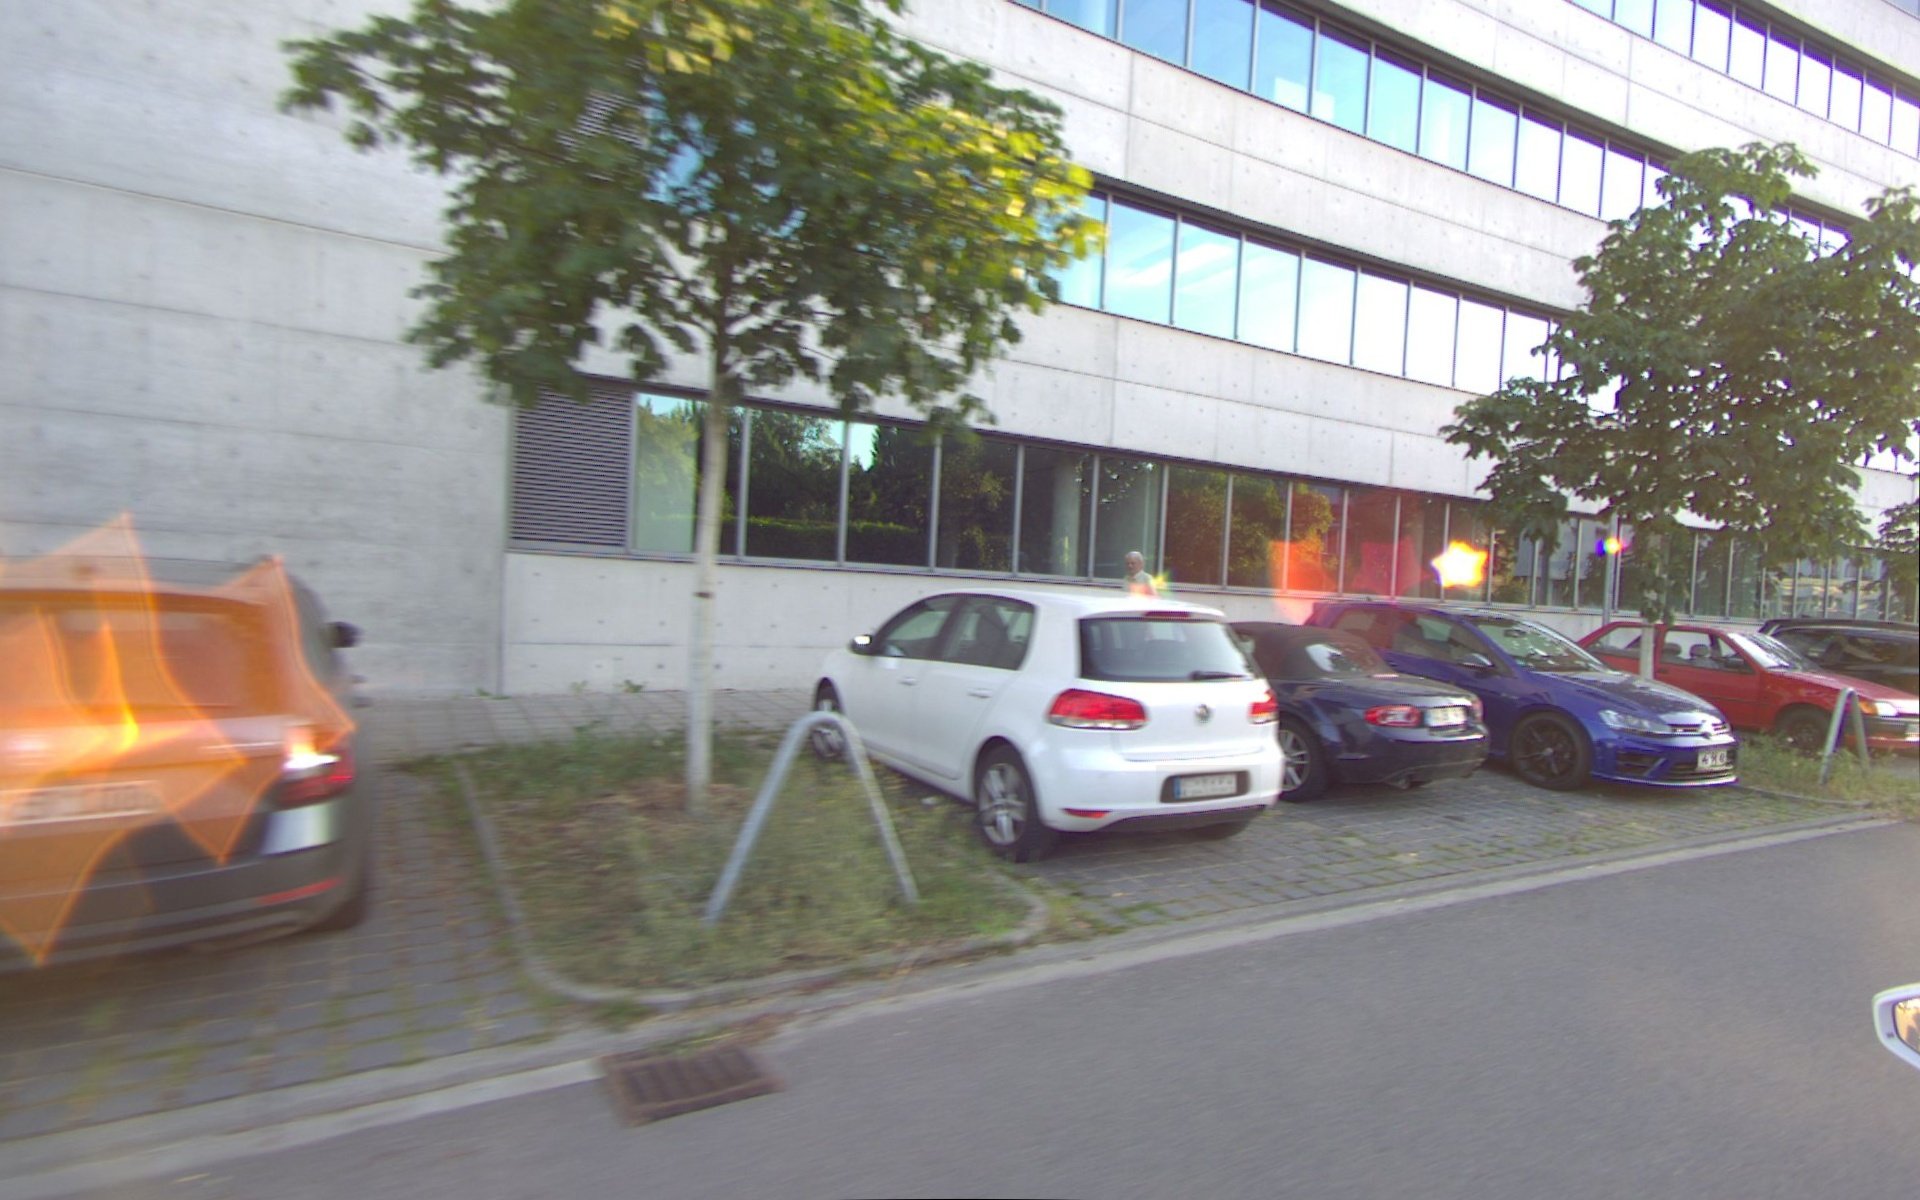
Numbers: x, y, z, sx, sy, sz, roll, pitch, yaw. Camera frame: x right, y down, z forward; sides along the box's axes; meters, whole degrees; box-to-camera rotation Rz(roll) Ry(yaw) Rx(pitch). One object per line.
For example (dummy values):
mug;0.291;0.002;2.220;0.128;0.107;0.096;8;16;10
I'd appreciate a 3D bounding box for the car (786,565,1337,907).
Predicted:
car;0.343;0.616;6.921;1.739;1.532;3.967;2;2;-30

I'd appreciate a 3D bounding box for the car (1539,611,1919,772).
car;9.486;1.002;12.382;1.690;1.477;3.687;3;1;-27

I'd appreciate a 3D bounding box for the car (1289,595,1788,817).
car;5.343;0.834;9.843;1.738;1.532;3.853;2;2;-28

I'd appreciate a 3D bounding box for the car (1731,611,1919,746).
car;13.894;1.169;14.212;1.872;1.719;4.294;3;1;-26

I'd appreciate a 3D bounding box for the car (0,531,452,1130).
car;-3.389;0.509;4.396;1.569;1.533;3.971;0;3;-34

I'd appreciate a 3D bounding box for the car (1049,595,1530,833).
car;2.549;0.767;8.559;1.668;1.380;3.611;2;2;-33

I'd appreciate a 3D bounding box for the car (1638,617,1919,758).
car;11.425;1.094;13.279;1.657;1.477;3.689;3;1;-26

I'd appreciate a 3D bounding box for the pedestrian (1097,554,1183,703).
pedestrian;2.252;0.349;12.615;0.716;1.808;0.643;2;2;-29

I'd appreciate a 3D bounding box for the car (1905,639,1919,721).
car;19.049;1.553;16.753;1.738;1.483;4.423;2;1;-22
